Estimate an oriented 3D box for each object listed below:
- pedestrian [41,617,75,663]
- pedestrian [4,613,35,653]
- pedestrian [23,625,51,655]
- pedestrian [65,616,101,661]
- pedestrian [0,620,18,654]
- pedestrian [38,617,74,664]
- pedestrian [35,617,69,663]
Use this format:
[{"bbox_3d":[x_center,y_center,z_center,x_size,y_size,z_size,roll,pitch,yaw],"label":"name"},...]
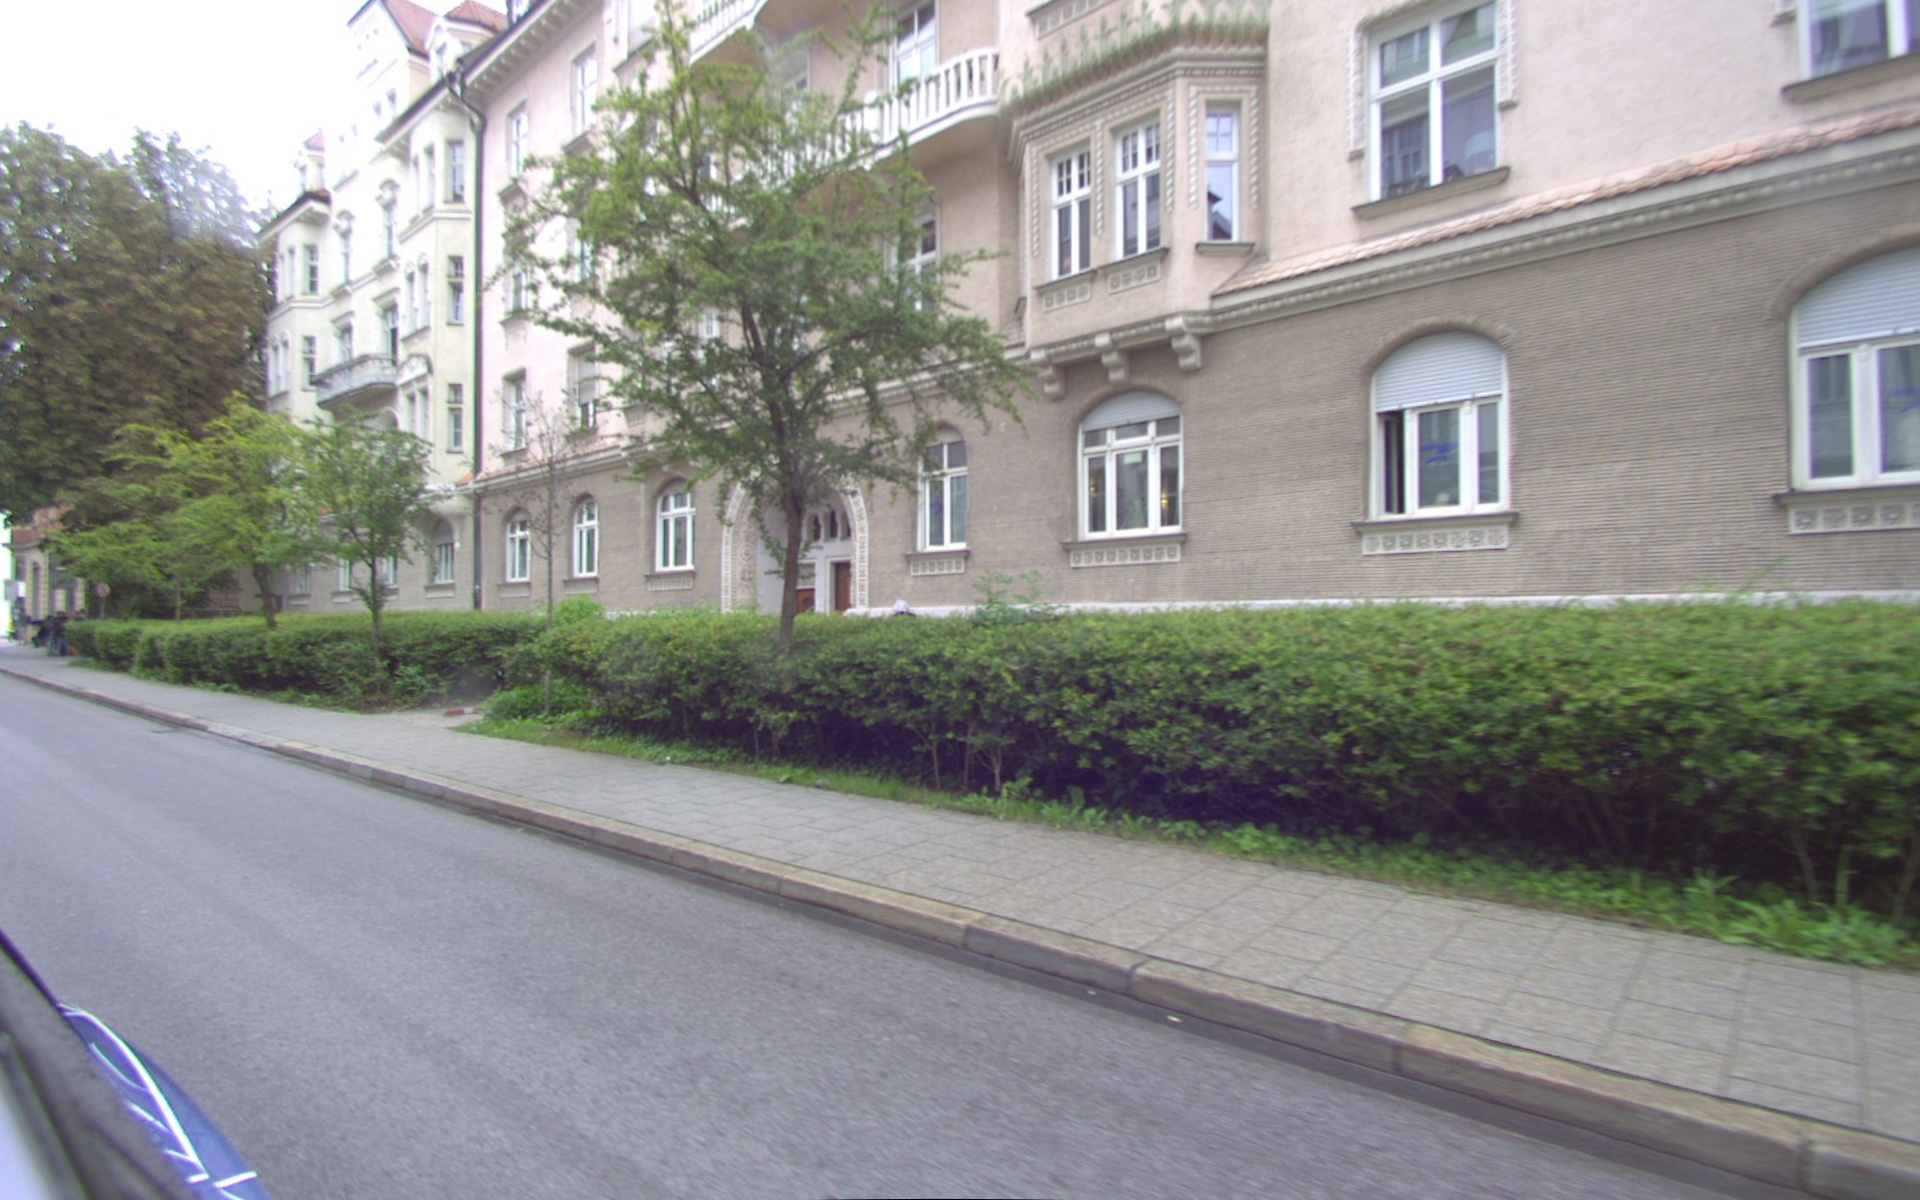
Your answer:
[{"bbox_3d":[-35.121,1.553,39.411,0.786,1.758,0.864,-1,-2,40],"label":"pedestrian"},{"bbox_3d":[-47.709,1.660,51.330,0.769,2.029,0.831,0,-2,-2],"label":"pedestrian"},{"bbox_3d":[-42.012,1.806,46.064,0.753,1.351,0.820,-1,-3,39],"label":"pedestrian"},{"bbox_3d":[-35.307,1.549,40.768,0.773,1.758,0.878,1,-2,-17],"label":"pedestrian"},{"bbox_3d":[-57.825,2.217,61.313,0.938,2.029,1.399,2,-2,-39],"label":"pedestrian"},{"bbox_3d":[-34.580,1.553,38.721,0.846,1.758,0.898,-1,-2,40],"label":"pedestrian"},{"bbox_3d":[-35.838,1.570,39.939,0.910,1.758,0.864,-1,-2,40],"label":"pedestrian"}]
